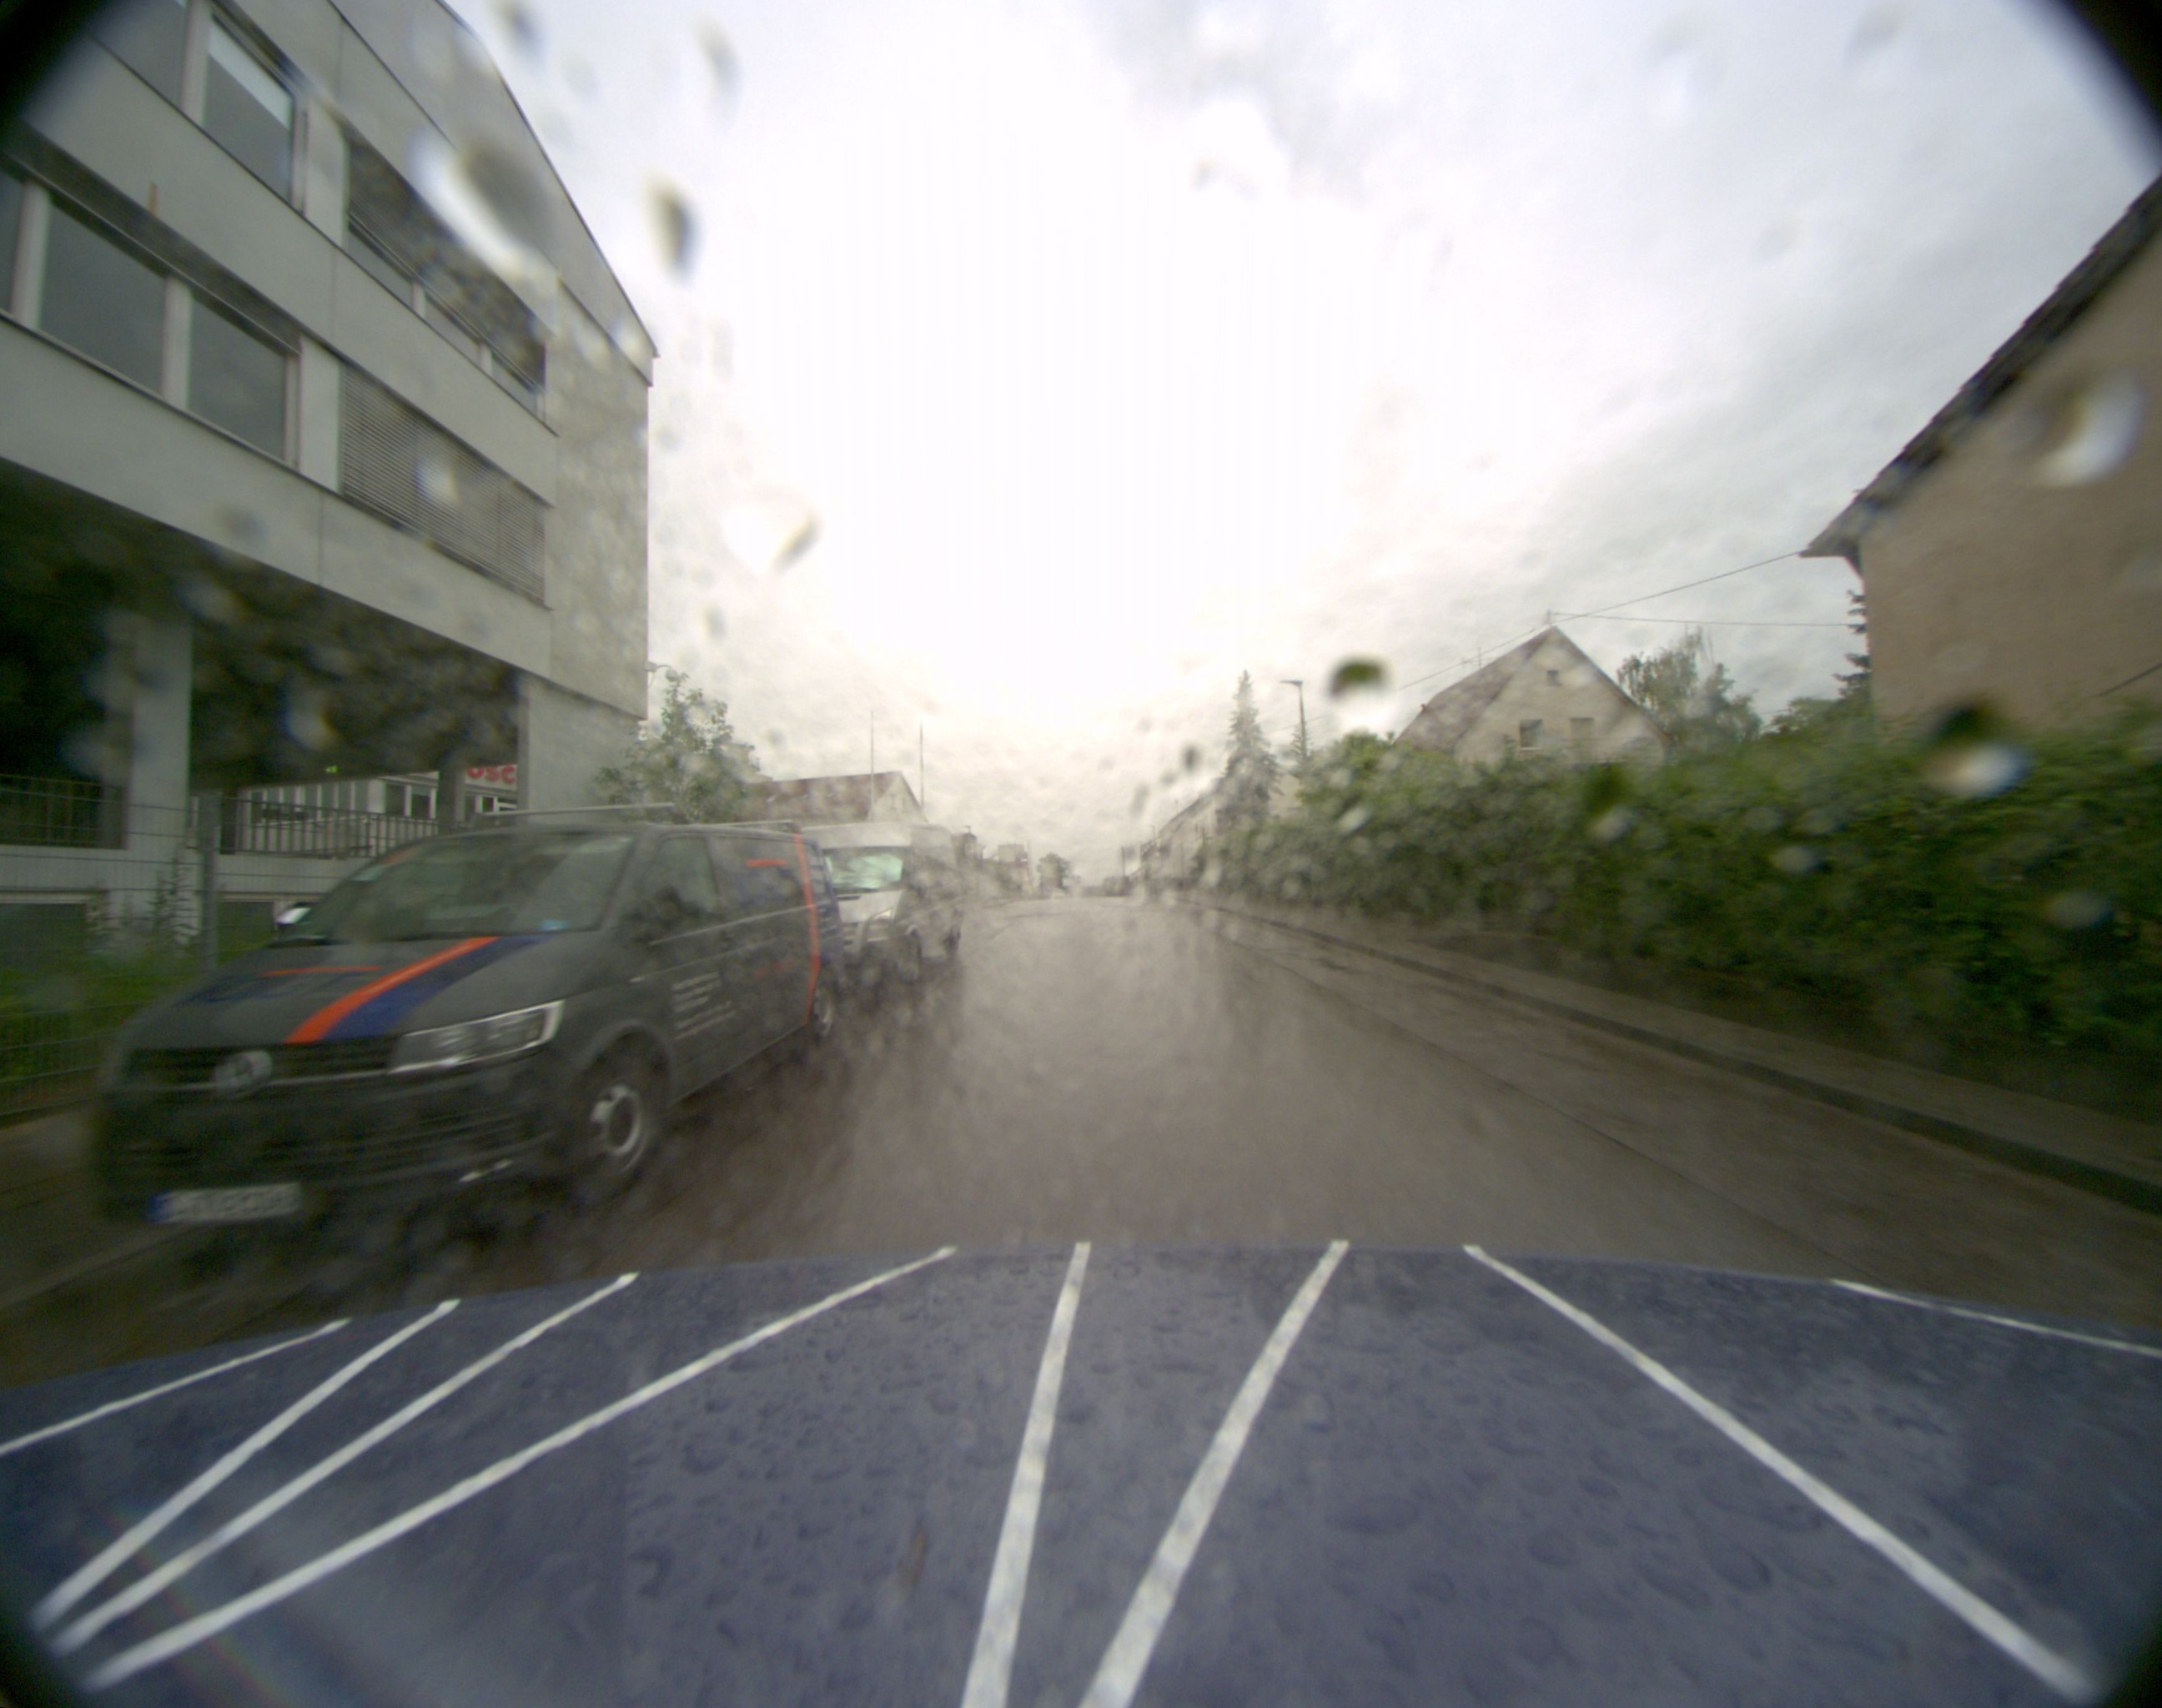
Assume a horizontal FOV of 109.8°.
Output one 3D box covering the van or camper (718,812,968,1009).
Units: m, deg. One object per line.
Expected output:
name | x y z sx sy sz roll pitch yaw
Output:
van or camper | -3.133 0.681 11.431 1.998 2.229 5.441 -1 -1 0

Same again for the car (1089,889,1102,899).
car | 2.240 6.280 120.618 1.898 1.523 4.001 -1 -2 -2

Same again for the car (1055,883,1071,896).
car | -2.184 4.341 92.794 1.898 1.537 4.001 -1 -2 -2

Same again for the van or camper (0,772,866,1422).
van or camper | -3.210 0.832 5.085 1.998 2.101 5.203 -1 -1 0

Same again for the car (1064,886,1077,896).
car | -1.567 5.357 110.085 1.898 1.470 4.001 -1 -2 -2
